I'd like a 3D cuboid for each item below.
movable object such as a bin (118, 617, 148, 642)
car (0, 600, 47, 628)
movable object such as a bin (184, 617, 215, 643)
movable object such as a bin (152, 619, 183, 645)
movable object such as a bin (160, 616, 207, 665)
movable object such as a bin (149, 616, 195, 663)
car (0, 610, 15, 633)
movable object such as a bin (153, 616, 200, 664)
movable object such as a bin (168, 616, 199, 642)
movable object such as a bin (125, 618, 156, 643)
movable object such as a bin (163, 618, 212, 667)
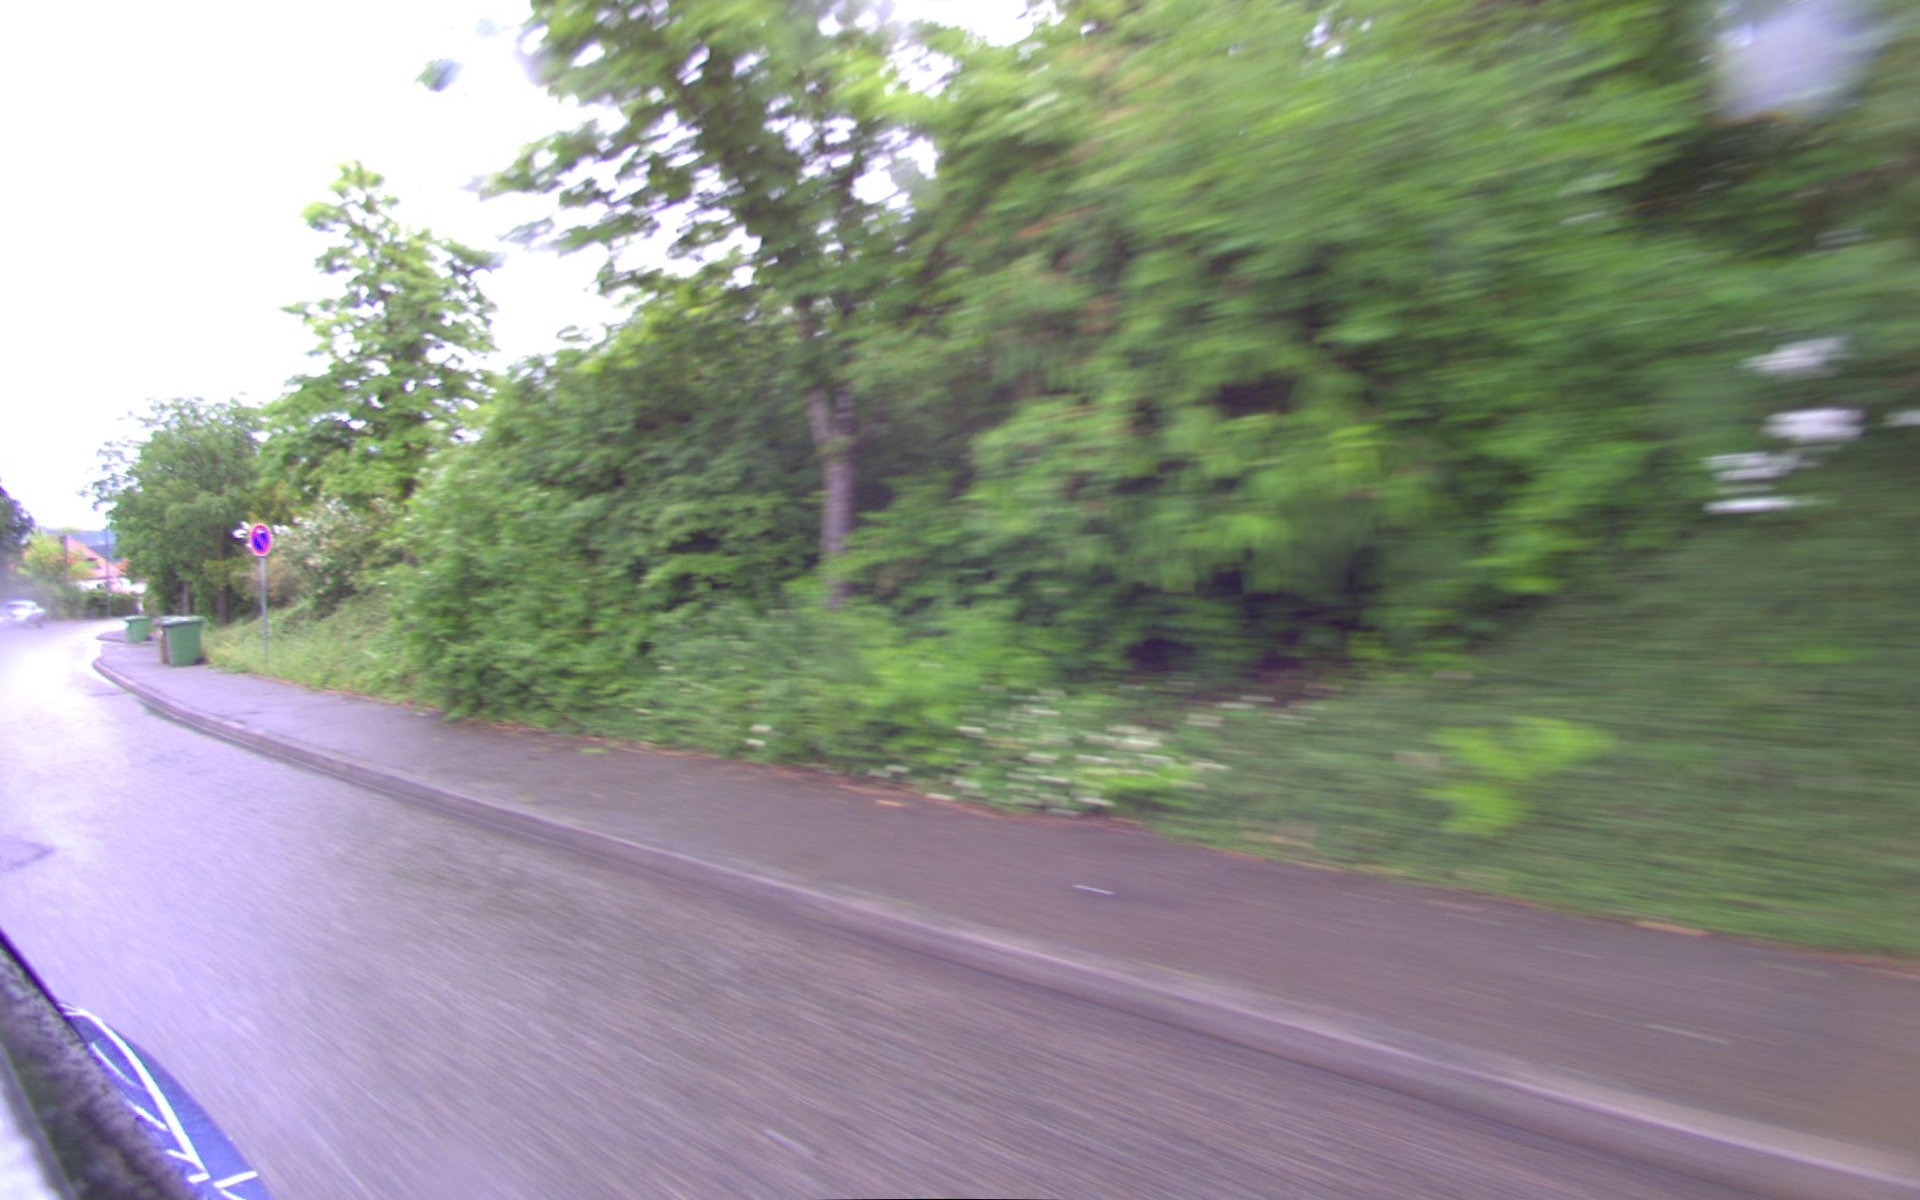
[{"bbox_3d":[-36.264,1.300,44.378,0.716,1.035,0.773,-1,2,26],"label":"movable object such as a bin"},{"bbox_3d":[-63.274,0.938,67.995,1.839,1.832,4.877,0,0,-30],"label":"car"},{"bbox_3d":[-32.762,1.287,43.600,0.710,1.035,0.779,-2,2,3],"label":"movable object such as a bin"},{"bbox_3d":[-34.218,1.388,43.706,0.710,1.035,0.779,-2,2,3],"label":"movable object such as a bin"},{"bbox_3d":[-17.995,0.933,23.458,0.671,1.105,0.760,-1,-1,41],"label":"movable object such as a bin"},{"bbox_3d":[-19.089,0.954,24.522,0.738,1.105,0.760,-1,-1,41],"label":"movable object such as a bin"},{"bbox_3d":[-60.344,1.338,62.781,1.725,1.434,4.012,0,0,-31],"label":"car"},{"bbox_3d":[-18.555,0.936,23.966,0.738,1.105,0.760,-1,-1,41],"label":"movable object such as a bin"},{"bbox_3d":[-33.487,1.238,43.652,0.710,1.035,0.779,-2,2,3],"label":"movable object such as a bin"},{"bbox_3d":[-35.626,1.323,44.003,0.716,1.035,0.773,-1,2,26],"label":"movable object such as a bin"},{"bbox_3d":[-17.522,0.955,22.954,0.690,1.076,0.760,-1,-1,41],"label":"movable object such as a bin"}]
